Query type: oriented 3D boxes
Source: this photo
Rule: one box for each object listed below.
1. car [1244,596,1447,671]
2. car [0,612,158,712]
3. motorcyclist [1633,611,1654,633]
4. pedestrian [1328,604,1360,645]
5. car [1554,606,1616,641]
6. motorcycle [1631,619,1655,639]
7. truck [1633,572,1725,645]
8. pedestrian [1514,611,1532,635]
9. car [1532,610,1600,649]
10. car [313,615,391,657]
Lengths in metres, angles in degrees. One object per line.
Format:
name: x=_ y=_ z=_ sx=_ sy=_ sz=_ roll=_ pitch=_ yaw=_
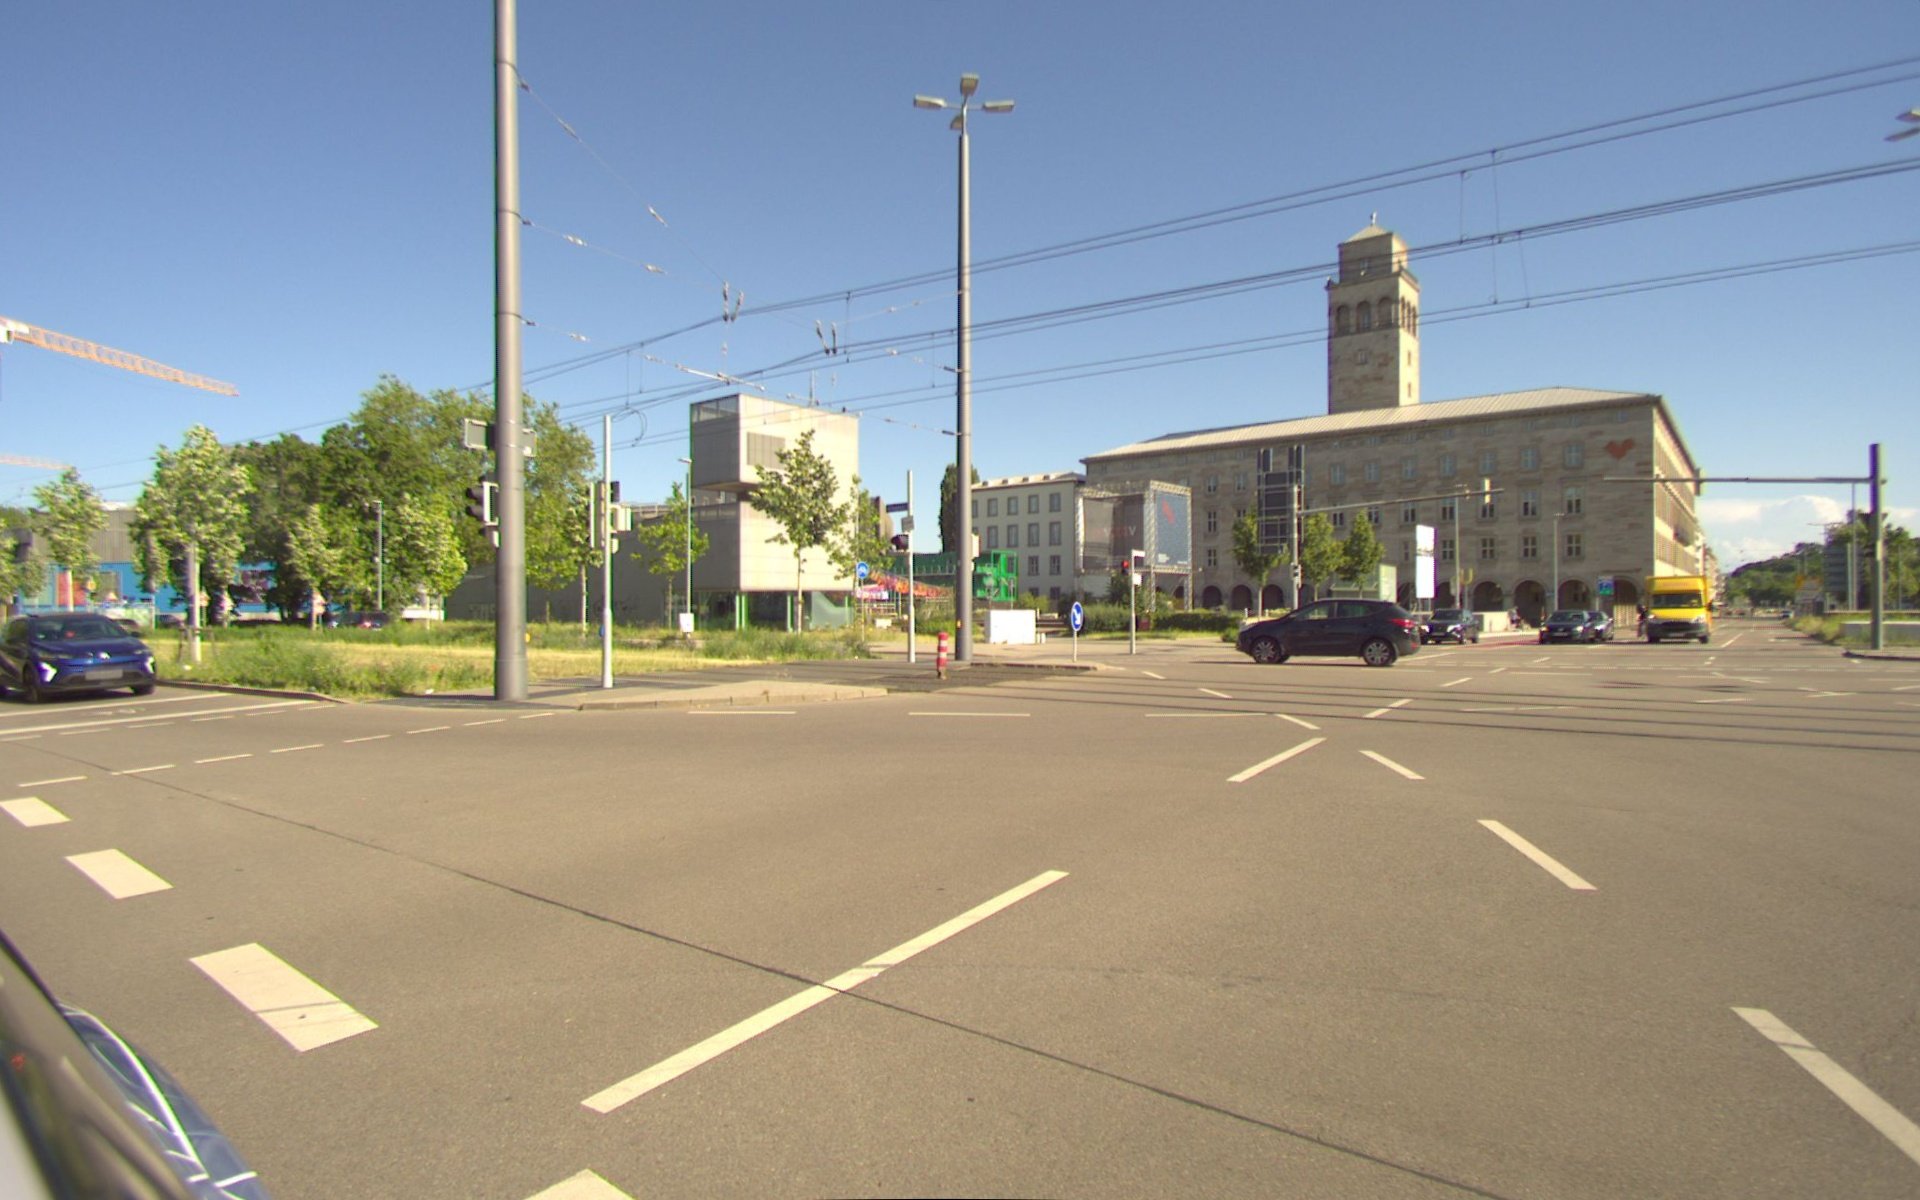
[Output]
car: x=9.588 y=0.808 z=25.226 sx=4.539 sy=1.720 sz=1.981 roll=-1 pitch=-1 yaw=28
car: x=-16.791 y=1.082 z=18.888 sx=4.079 sy=1.600 sz=1.755 roll=-1 pitch=1 yaw=35
motorcyclist: x=33.753 y=1.088 z=50.003 sx=0.793 sy=1.090 sz=1.006 roll=0 pitch=-1 yaw=38
pedestrian: x=16.535 y=1.039 z=43.607 sx=0.945 sy=1.698 sz=1.181 roll=-3 pitch=-1 yaw=36
car: x=29.360 y=1.085 z=47.494 sx=1.902 sy=1.551 sz=3.946 roll=-1 pitch=-1 yaw=40
motorcycle: x=33.839 y=1.422 z=50.094 sx=0.793 sy=0.917 sz=3.216 roll=0 pitch=-1 yaw=37
truck: x=30.243 y=0.333 z=42.421 sx=2.461 sy=2.814 sz=7.926 roll=-1 pitch=-1 yaw=40
pedestrian: x=40.351 y=1.645 z=72.536 sx=0.945 sy=1.698 sz=1.181 roll=-3 pitch=-1 yaw=36
car: x=26.039 y=1.244 z=43.440 sx=1.902 sy=1.551 sz=3.946 roll=-1 pitch=-1 yaw=40
car: x=-29.610 y=1.736 z=49.255 sx=3.991 sy=1.970 sz=1.854 roll=-1 pitch=-1 yaw=36
